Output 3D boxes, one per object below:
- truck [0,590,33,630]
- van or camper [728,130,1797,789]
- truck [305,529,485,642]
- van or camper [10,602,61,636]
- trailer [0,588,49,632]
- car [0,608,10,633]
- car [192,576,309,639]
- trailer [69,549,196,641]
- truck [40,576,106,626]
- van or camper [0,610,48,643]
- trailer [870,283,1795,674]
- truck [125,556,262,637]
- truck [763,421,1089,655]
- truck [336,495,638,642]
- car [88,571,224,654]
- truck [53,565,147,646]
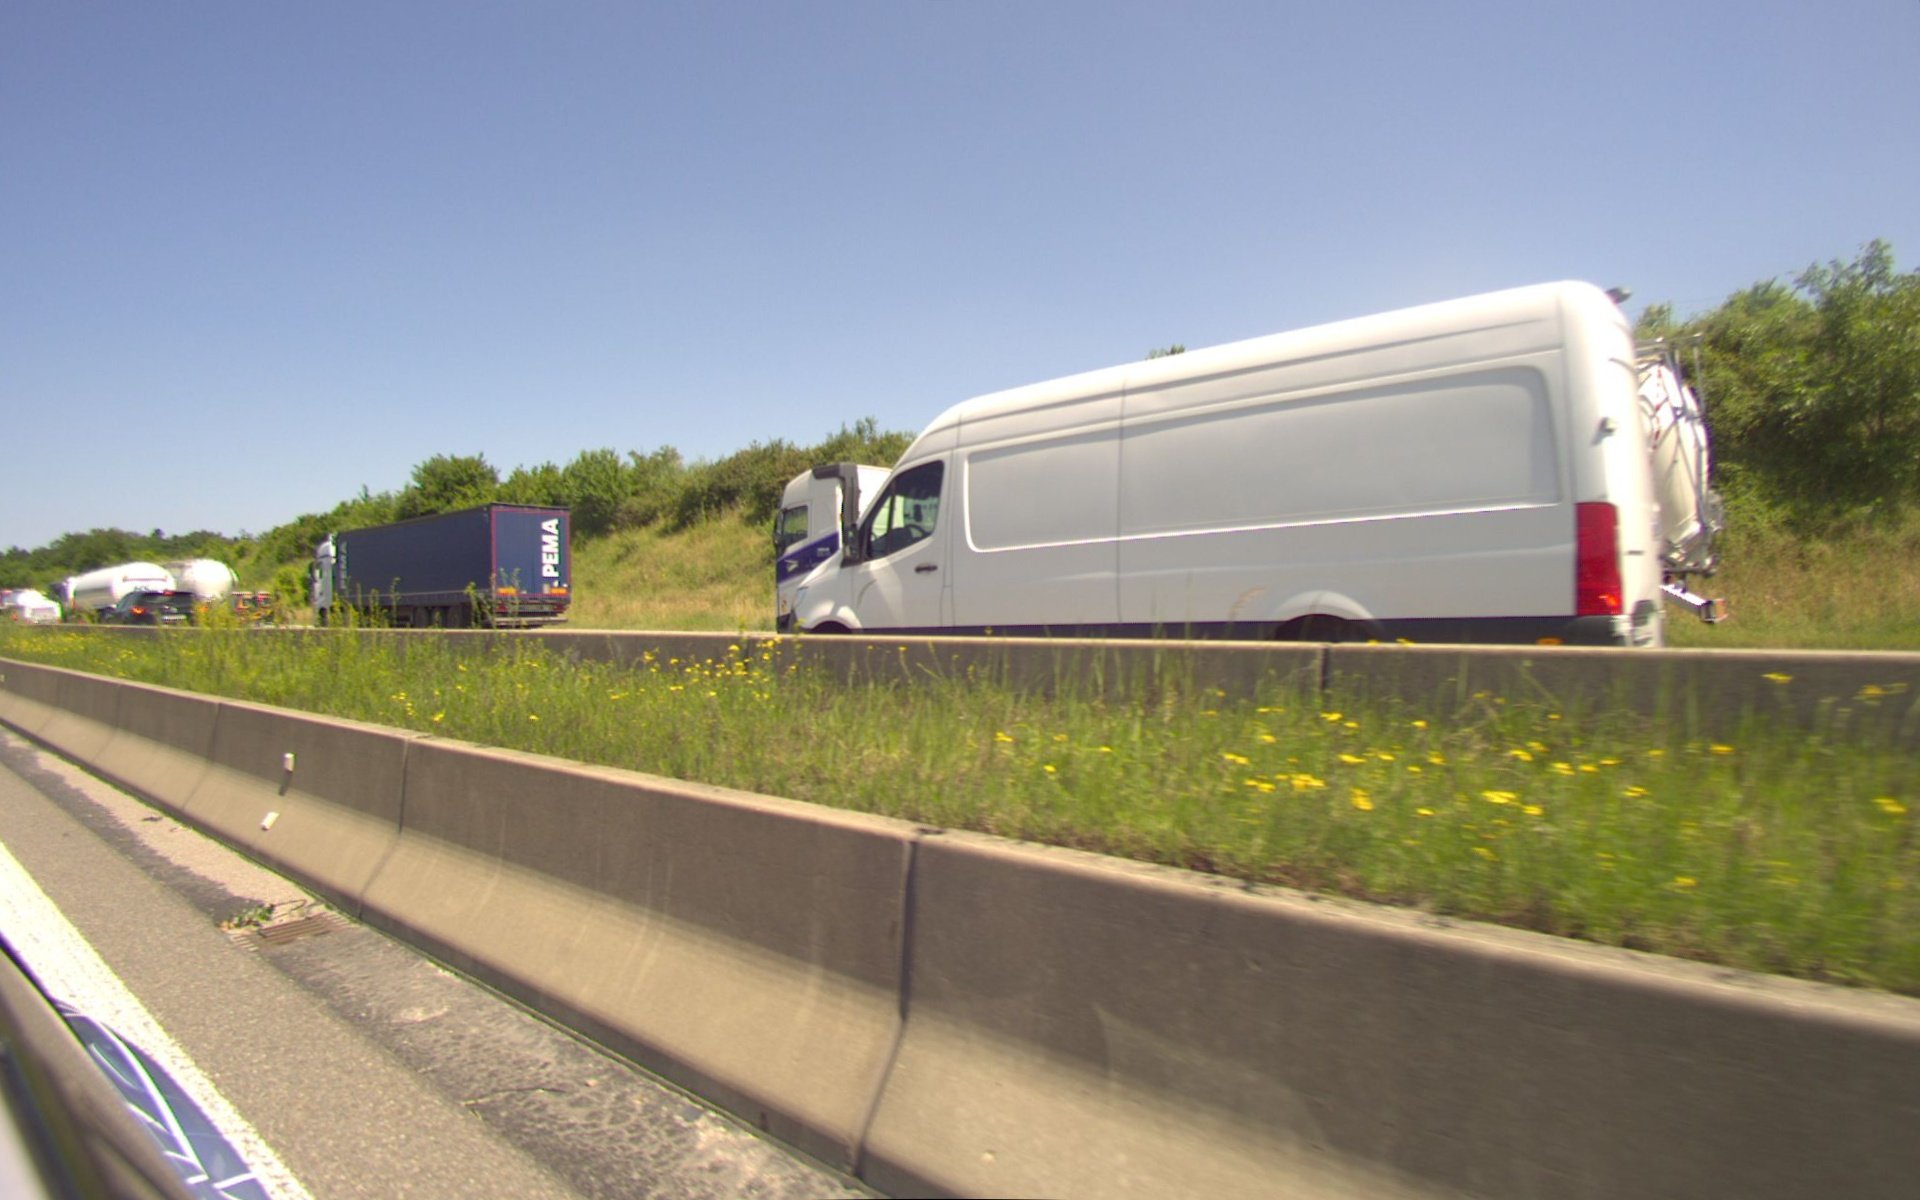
[{"bbox_3d":[-98.249,1.079,104.594,6.029,3.851,2.755,-1,3,41],"label":"truck"},{"bbox_3d":[1.405,-0.624,7.744,7.638,2.898,1.973,-1,3,41],"label":"van or camper"},{"bbox_3d":[-22.148,-0.507,39.437,8.141,3.938,3.473,-1,1,41],"label":"truck"},{"bbox_3d":[-62.933,1.263,68.884,4.714,2.169,1.973,-1,1,40],"label":"van or camper"},{"bbox_3d":[-93.046,0.995,100.081,12.267,3.978,2.653,0,4,41],"label":"trailer"},{"bbox_3d":[-79.702,1.722,82.993,5.091,1.972,2.003,-1,2,41],"label":"car"},{"bbox_3d":[-26.086,0.277,37.147,5.052,2.078,2.066,-1,3,39],"label":"car"},{"bbox_3d":[-40.056,-0.140,48.792,11.636,3.980,2.652,-1,-1,40],"label":"trailer"},{"bbox_3d":[-70.232,0.134,80.045,9.932,3.702,2.519,-1,2,41],"label":"truck"},{"bbox_3d":[-67.161,1.889,72.414,5.951,2.169,1.973,-1,1,40],"label":"van or camper"},{"bbox_3d":[4.241,-1.149,15.597,13.234,3.980,2.652,-1,-1,40],"label":"trailer"},{"bbox_3d":[-43.440,-0.091,57.131,12.572,4.124,3.542,-2,1,41],"label":"truck"},{"bbox_3d":[-0.847,-0.991,19.986,6.313,3.908,2.665,-1,-1,41],"label":"truck"},{"bbox_3d":[-16.766,-0.746,34.716,14.997,4.124,3.542,-2,0,41],"label":"truck"},{"bbox_3d":[-23.115,0.339,29.023,5.056,2.078,2.065,-1,3,41],"label":"car"},{"bbox_3d":[-45.161,0.282,53.077,7.398,3.919,2.591,-1,1,41],"label":"truck"}]
